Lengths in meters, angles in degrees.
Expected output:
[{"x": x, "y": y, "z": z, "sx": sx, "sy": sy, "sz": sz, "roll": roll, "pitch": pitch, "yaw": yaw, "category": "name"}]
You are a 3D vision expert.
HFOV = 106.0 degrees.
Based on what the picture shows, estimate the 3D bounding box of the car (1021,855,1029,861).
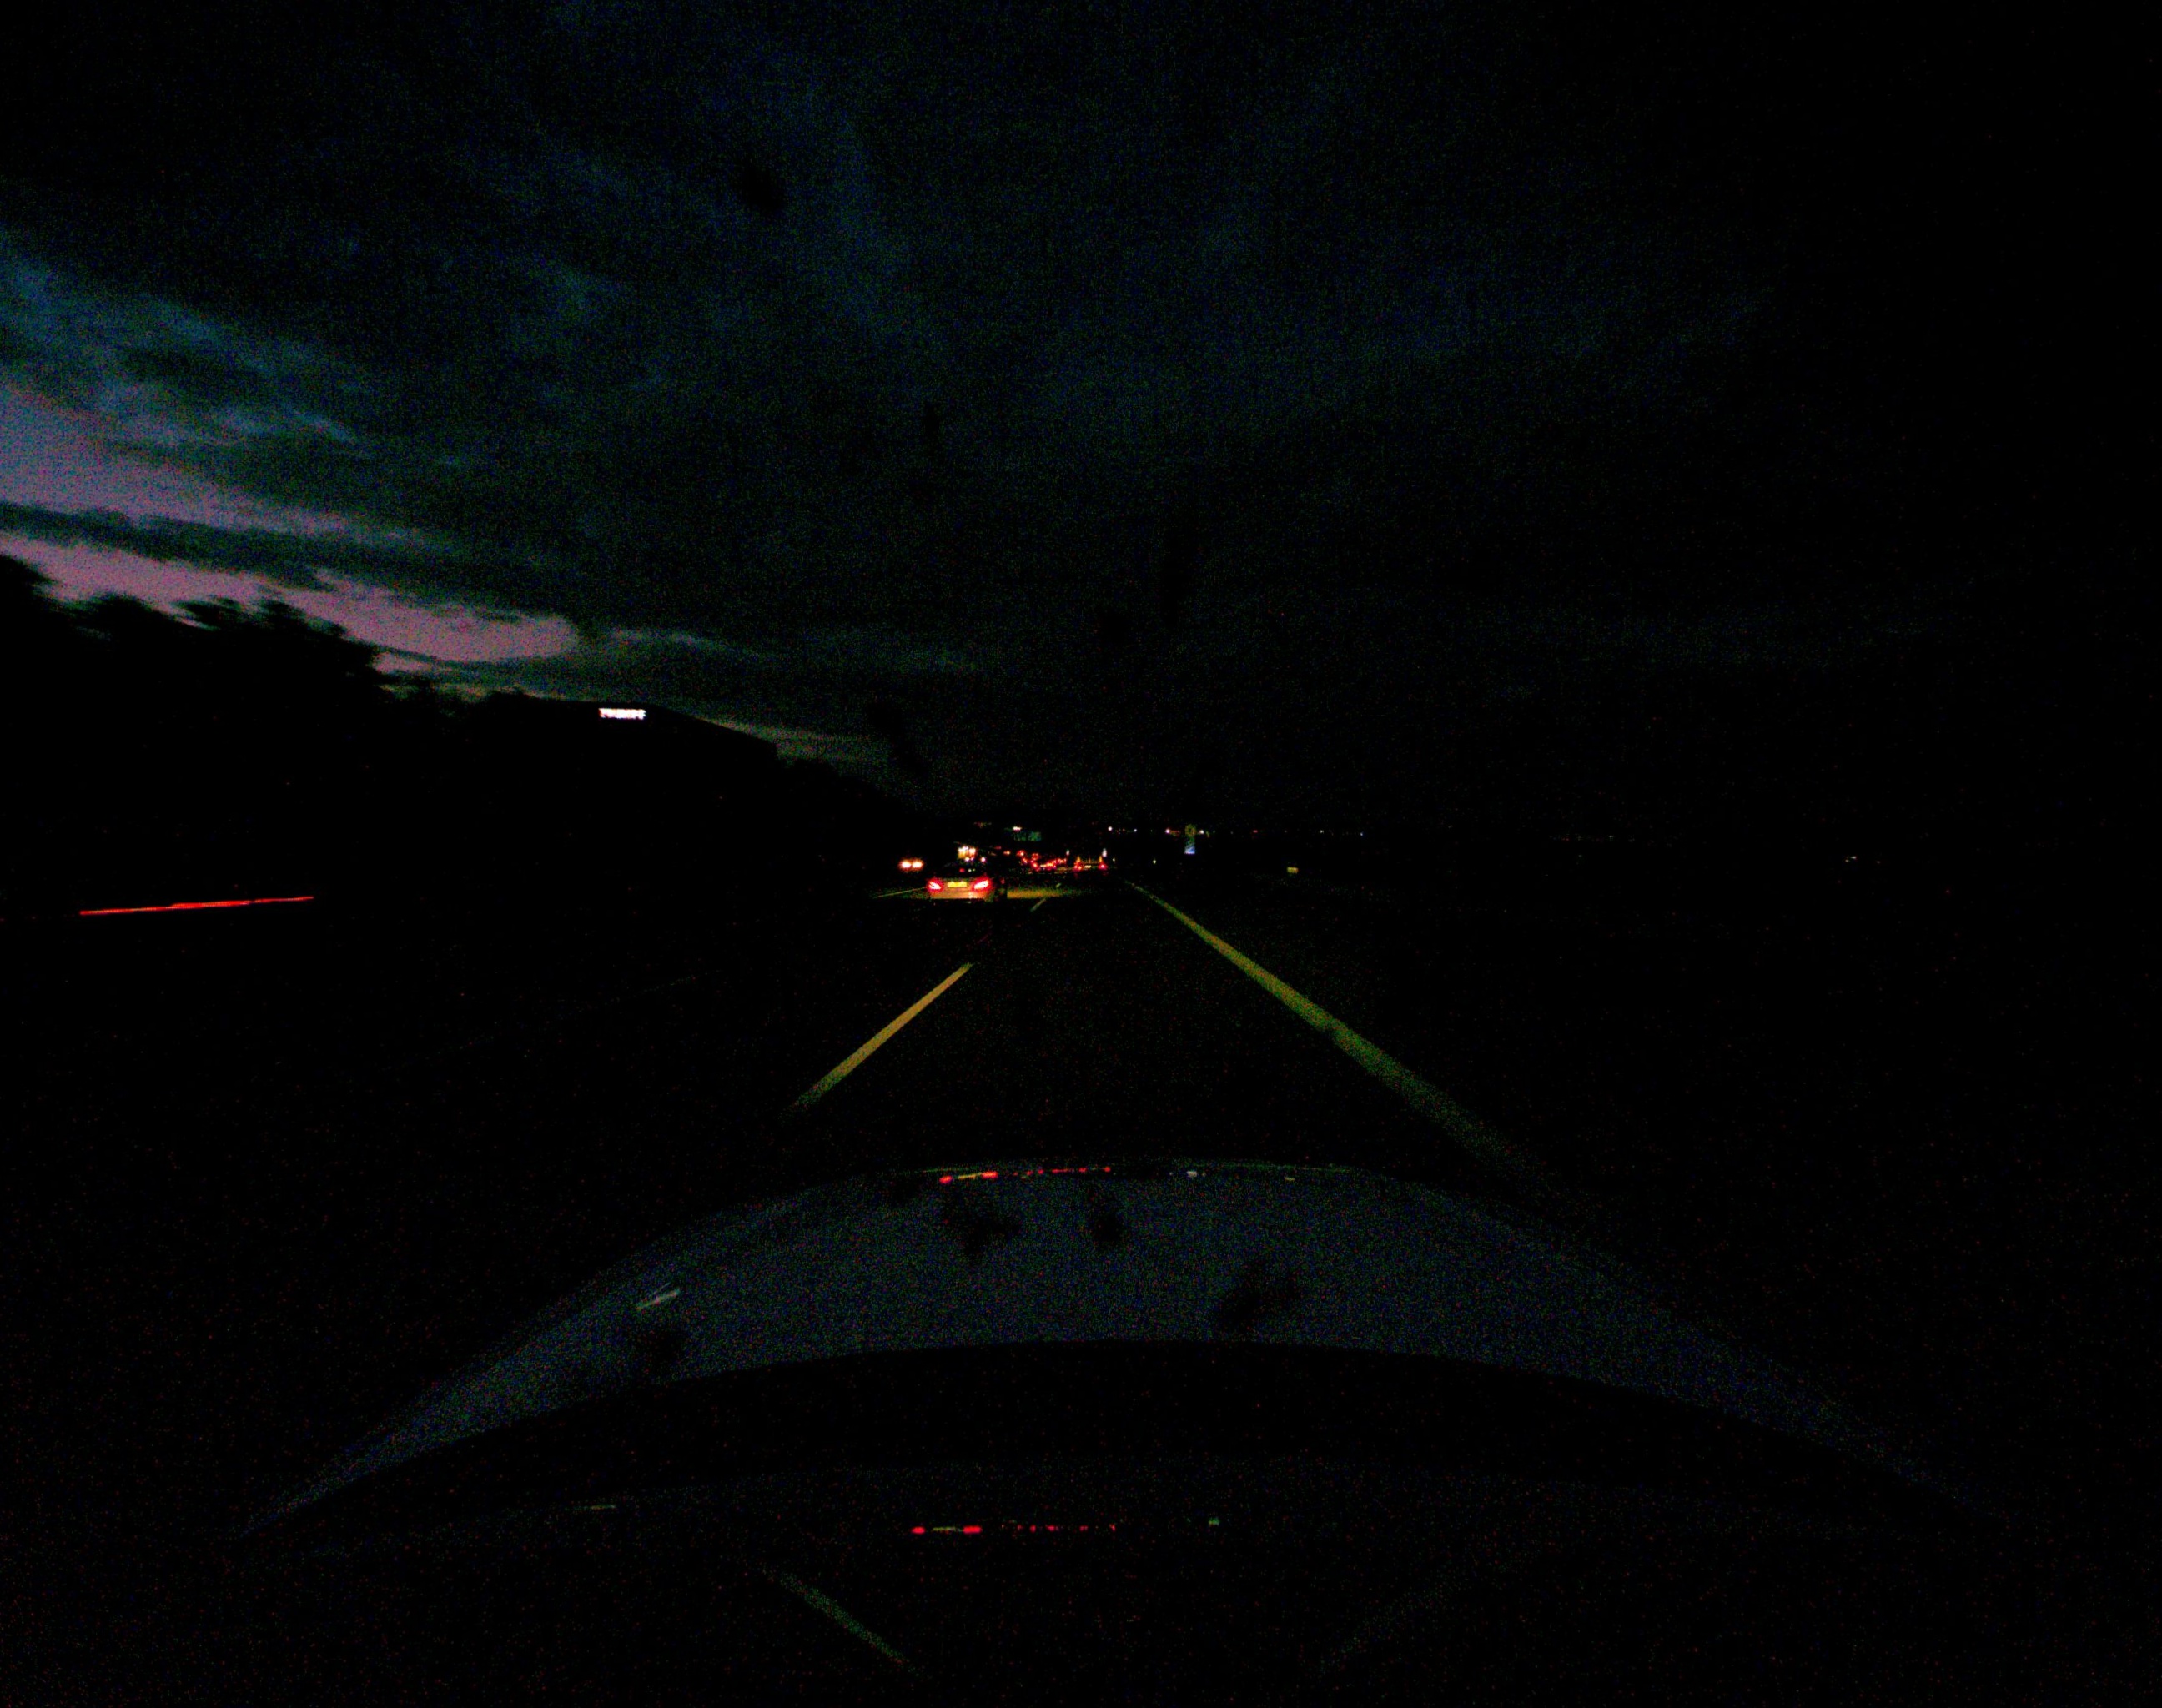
[{"x": -14.696, "y": 0.996, "z": 214.126, "sx": 1.992, "sy": 1.468, "sz": 3.989, "roll": 0, "pitch": -1, "yaw": -8, "category": "car"}]

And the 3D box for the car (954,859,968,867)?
[{"x": -21.436, "y": 1.625, "z": 146.176, "sx": 1.988, "sy": 1.453, "sz": 3.833, "roll": 0, "pitch": 0, "yaw": -1, "category": "car"}]

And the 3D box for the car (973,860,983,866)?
[{"x": -23.914, "y": 2.157, "z": 189.506, "sx": 1.830, "sy": 1.336, "sz": 4.904, "roll": 0, "pitch": 0, "yaw": -3, "category": "car"}]

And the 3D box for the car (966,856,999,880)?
[{"x": -6.646, "y": 0.921, "z": 55.215, "sx": 1.757, "sy": 1.575, "sz": 4.574, "roll": 0, "pitch": 0, "yaw": -1, "category": "car"}]

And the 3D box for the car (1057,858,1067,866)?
[{"x": -4.128, "y": 1.727, "z": 176.519, "sx": 1.989, "sy": 1.534, "sz": 3.995, "roll": 0, "pitch": 0, "yaw": -4, "category": "car"}]

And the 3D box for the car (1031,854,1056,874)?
[{"x": -3.198, "y": 0.884, "z": 70.905, "sx": 2.059, "sy": 1.686, "sz": 4.573, "roll": 0, "pitch": 0, "yaw": -2, "category": "car"}]

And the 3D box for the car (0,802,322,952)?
[{"x": -18.652, "y": 0.400, "z": 15.113, "sx": 2.317, "sy": 2.431, "sz": 7.097, "roll": 0, "pitch": 0, "yaw": 2, "category": "car"}]

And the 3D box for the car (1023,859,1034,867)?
[{"x": -10.659, "y": 1.851, "z": 163.904, "sx": 1.991, "sy": 1.622, "sz": 3.990, "roll": 0, "pitch": -1, "yaw": -7, "category": "car"}]

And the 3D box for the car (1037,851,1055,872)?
[{"x": -3.991, "y": 0.827, "z": 92.050, "sx": 1.989, "sy": 2.380, "sz": 3.995, "roll": 0, "pitch": -1, "yaw": -3, "category": "car"}]

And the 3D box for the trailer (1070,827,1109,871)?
[{"x": 0.711, "y": -0.347, "z": 83.897, "sx": 3.540, "sy": 4.116, "sz": 15.054, "roll": -1, "pitch": -1, "yaw": -1, "category": "trailer"}]

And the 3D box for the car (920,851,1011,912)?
[{"x": -3.282, "y": 0.759, "z": 24.151, "sx": 1.899, "sy": 1.614, "sz": 4.804, "roll": 0, "pitch": 0, "yaw": 1, "category": "car"}]

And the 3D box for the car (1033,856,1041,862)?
[{"x": -13.116, "y": 1.519, "z": 242.058, "sx": 1.994, "sy": 1.622, "sz": 3.986, "roll": 0, "pitch": -1, "yaw": -10, "category": "car"}]

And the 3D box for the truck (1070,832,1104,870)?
[{"x": 0.625, "y": -0.236, "z": 91.521, "sx": 3.540, "sy": 4.091, "sz": 6.147, "roll": -1, "pitch": -1, "yaw": -1, "category": "truck"}]

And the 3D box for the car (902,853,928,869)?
[{"x": -19.419, "y": 0.783, "z": 95.458, "sx": 1.987, "sy": 1.791, "sz": 4.839, "roll": 0, "pitch": 0, "yaw": 0, "category": "car"}]

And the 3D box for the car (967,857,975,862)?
[{"x": -34.022, "y": 1.746, "z": 251.469, "sx": 1.989, "sy": 1.534, "sz": 5.001, "roll": 0, "pitch": 0, "yaw": -3, "category": "car"}]
